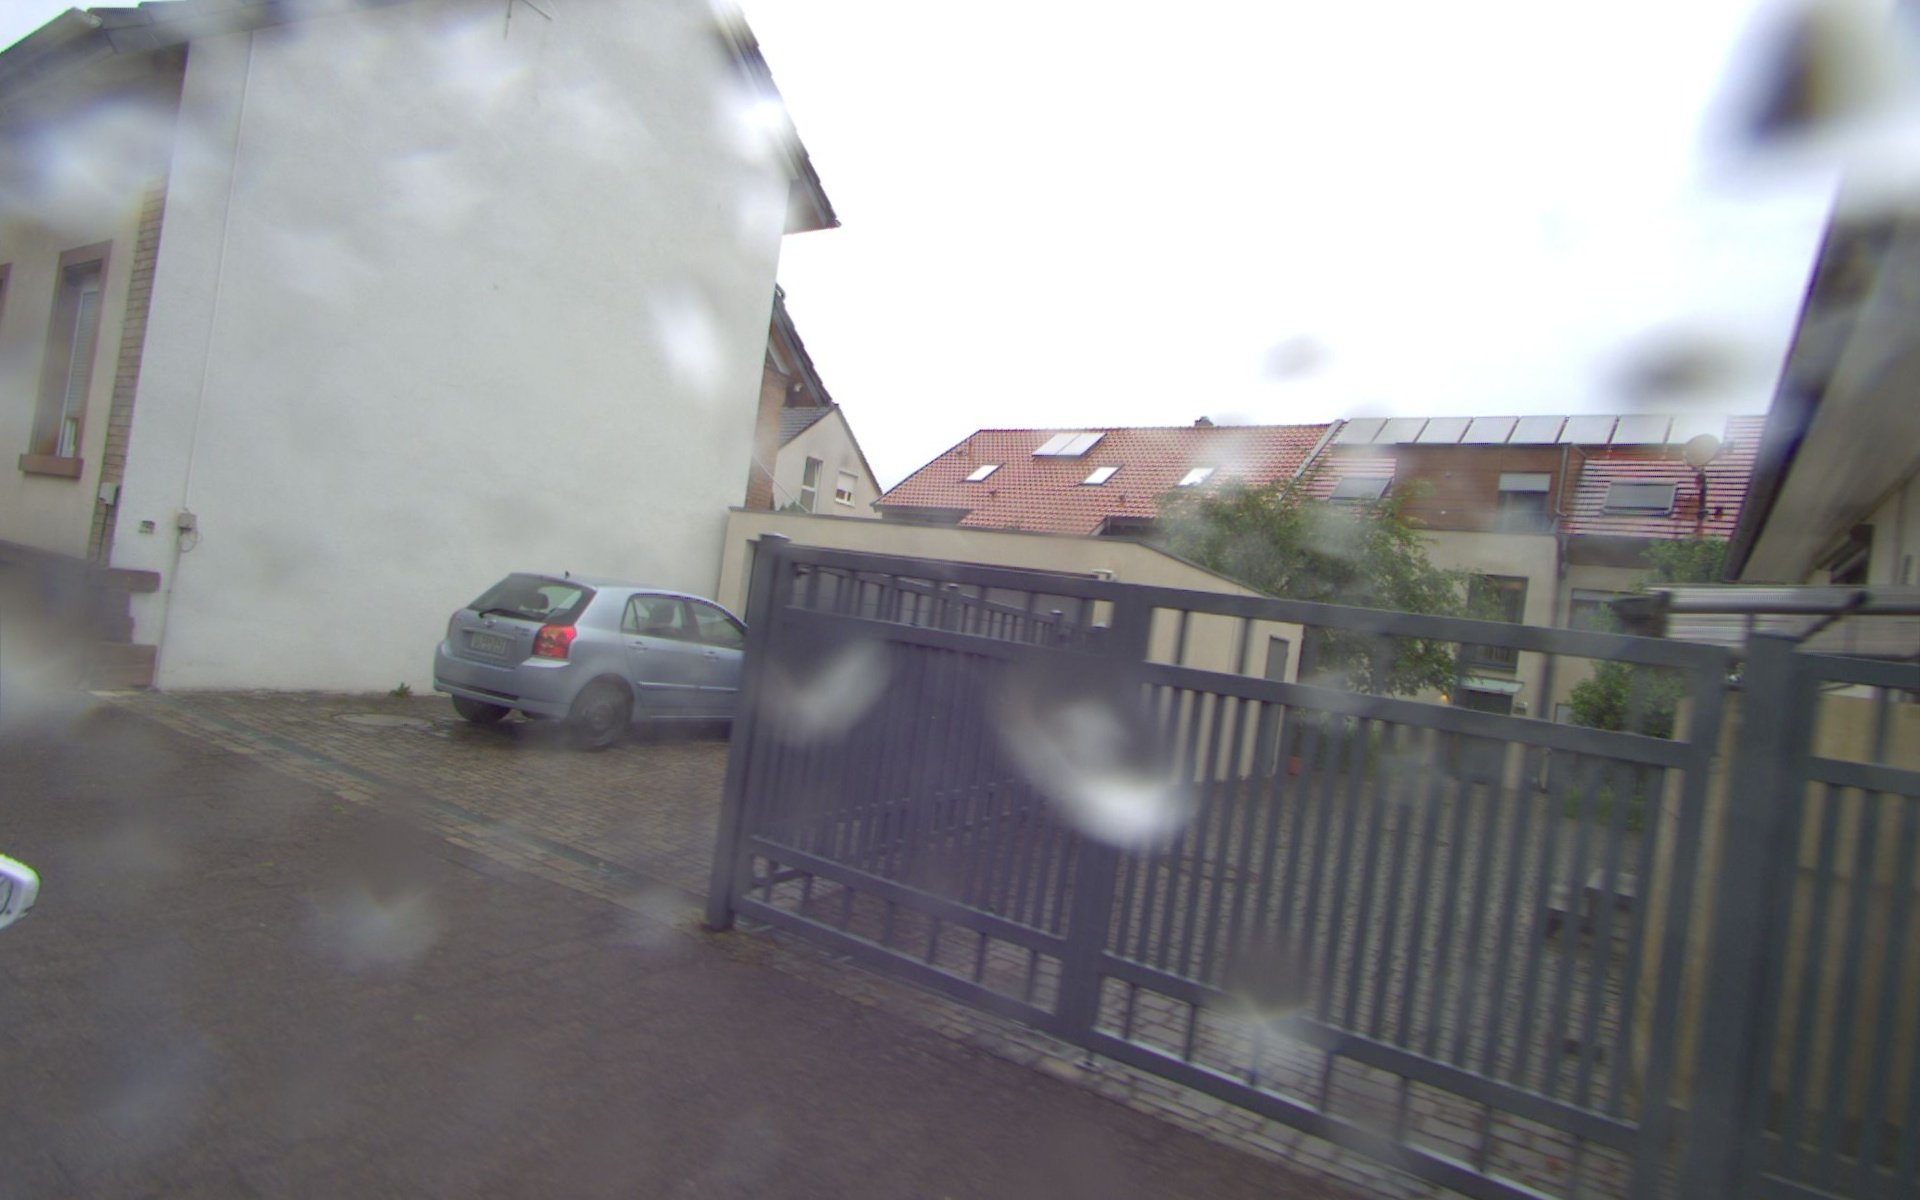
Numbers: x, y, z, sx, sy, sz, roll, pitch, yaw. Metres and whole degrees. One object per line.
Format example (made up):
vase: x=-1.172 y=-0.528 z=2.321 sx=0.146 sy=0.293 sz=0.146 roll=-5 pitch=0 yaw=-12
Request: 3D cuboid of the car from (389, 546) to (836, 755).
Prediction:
car: x=-3.175 y=0.588 z=10.043 sx=1.819 sy=1.514 sz=3.909 roll=7 pitch=-3 yaw=28
